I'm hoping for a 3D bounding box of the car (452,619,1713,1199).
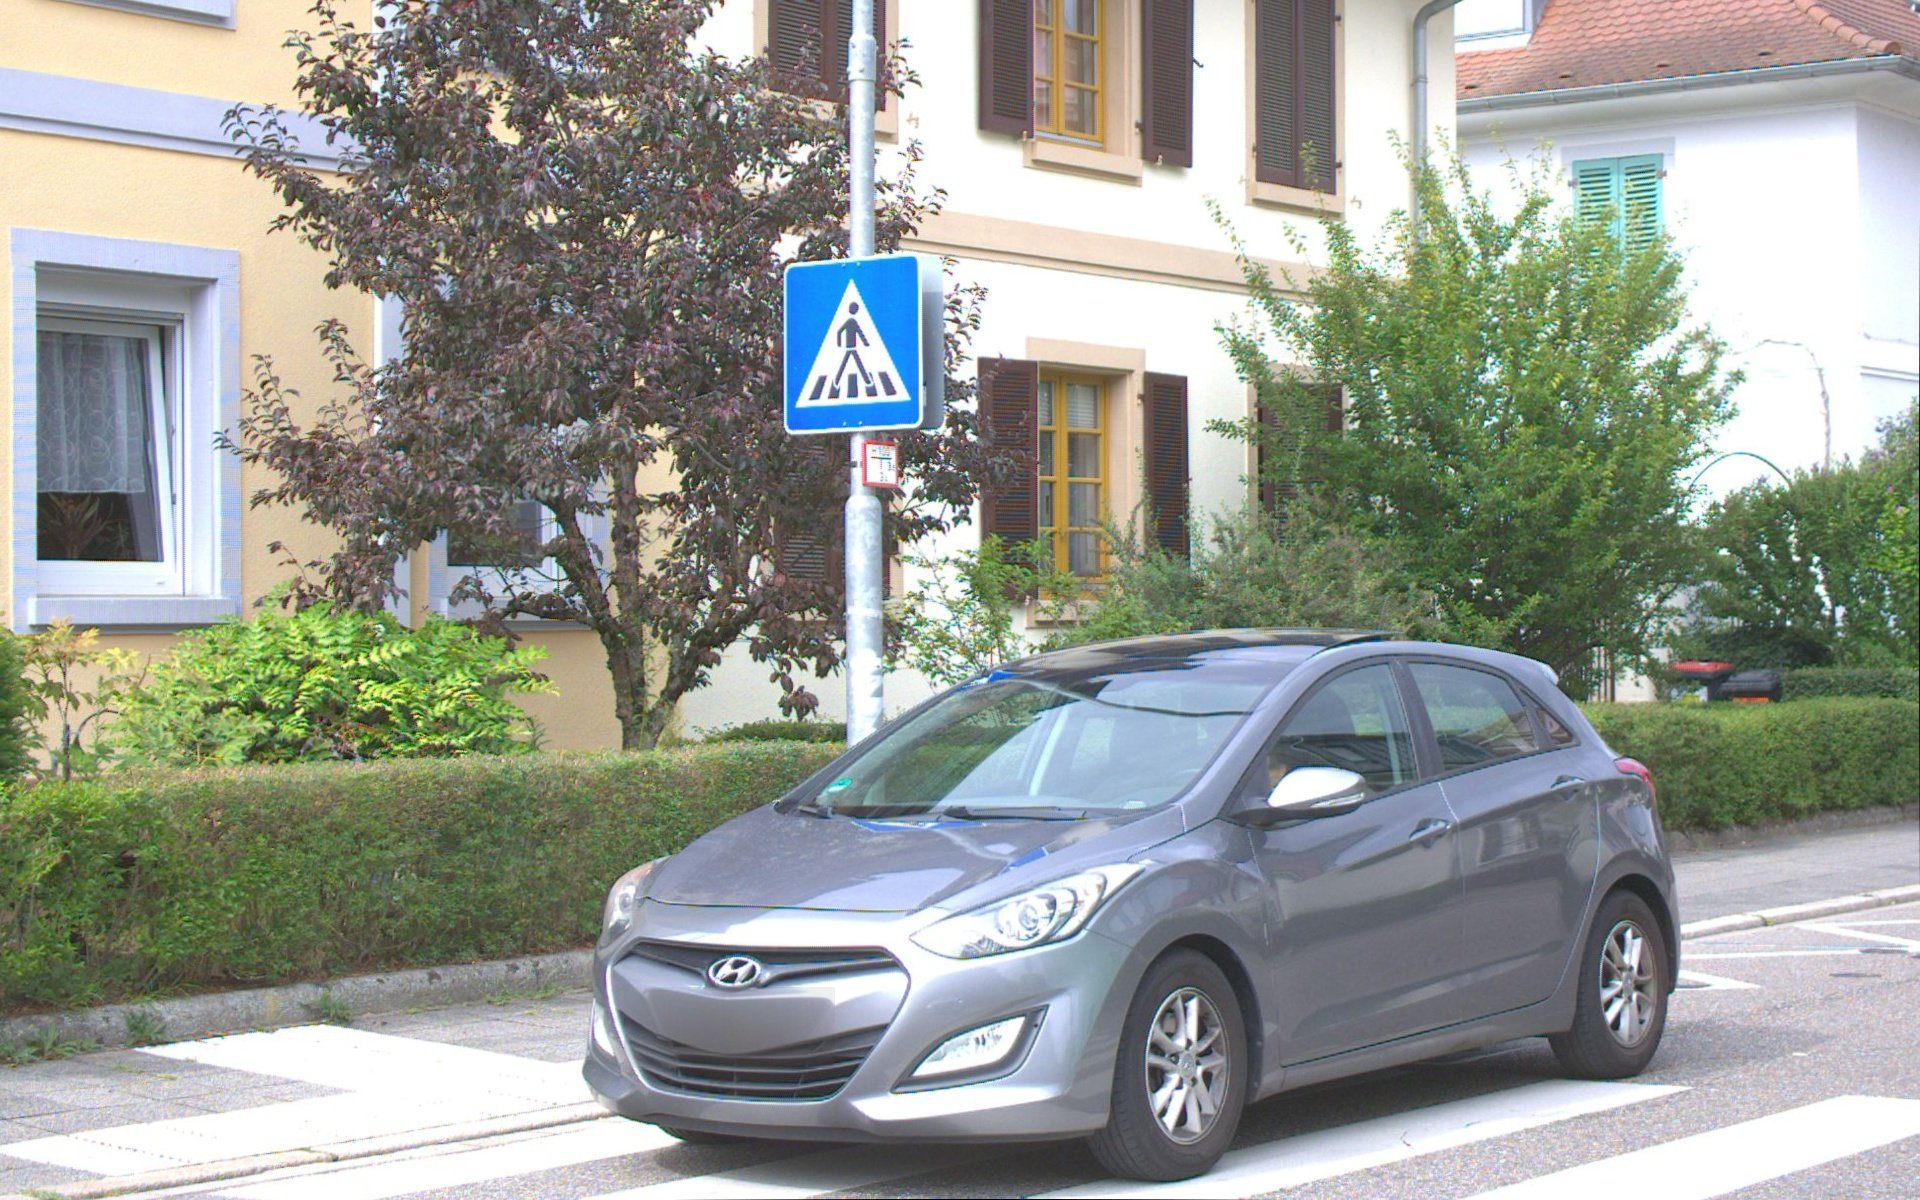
[{"bbox_3d":[0.563,0.812,10.511,1.852,1.476,4.033,-1,0,37],"label":"car"}]
